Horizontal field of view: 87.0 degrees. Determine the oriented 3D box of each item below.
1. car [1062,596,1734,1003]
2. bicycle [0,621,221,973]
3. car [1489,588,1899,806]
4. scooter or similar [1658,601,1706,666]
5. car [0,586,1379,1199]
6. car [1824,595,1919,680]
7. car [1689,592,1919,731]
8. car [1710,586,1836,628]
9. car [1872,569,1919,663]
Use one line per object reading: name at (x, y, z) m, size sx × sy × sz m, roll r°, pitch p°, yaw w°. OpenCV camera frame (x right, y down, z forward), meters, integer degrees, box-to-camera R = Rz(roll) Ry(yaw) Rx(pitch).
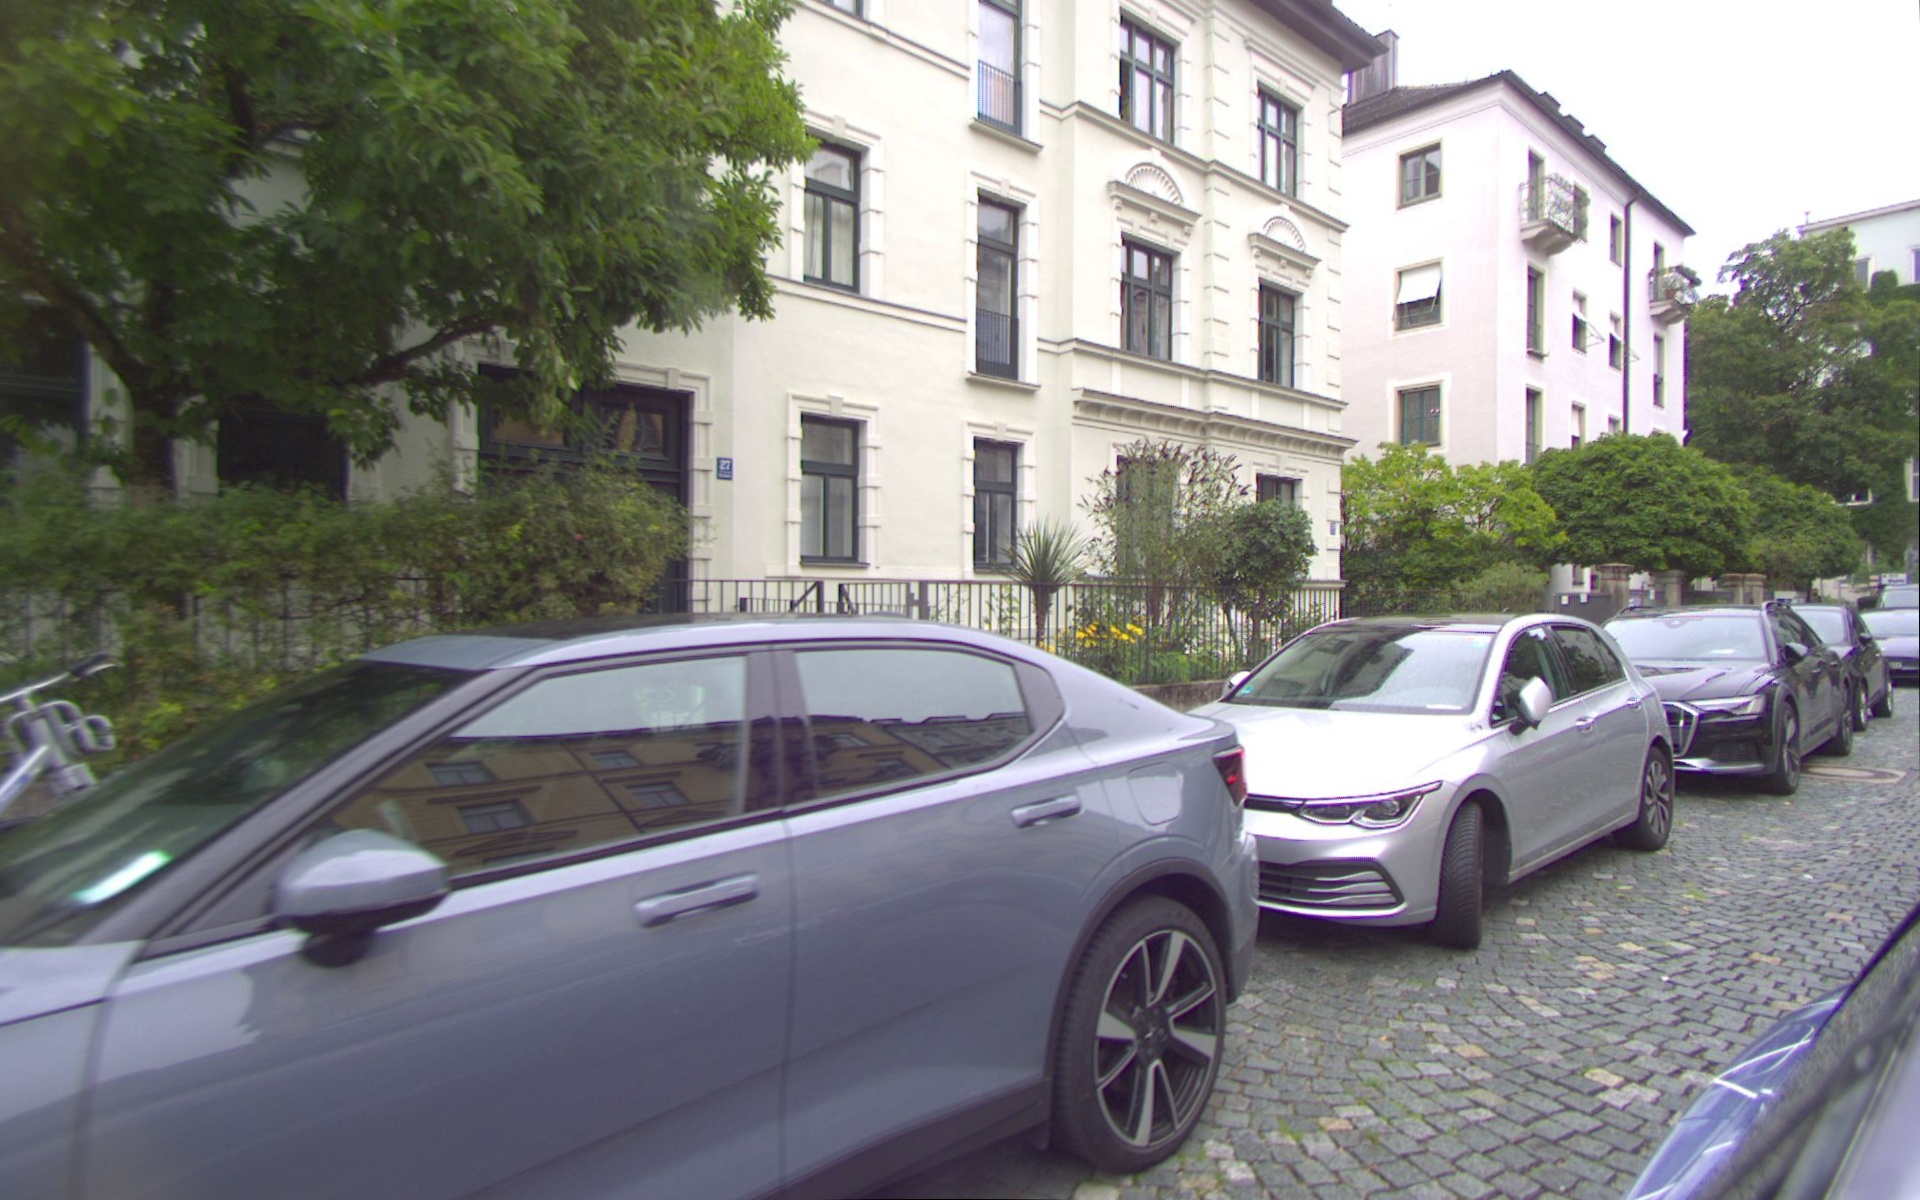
car at (2.771, 0.759, 5.844) m, size 4.401 × 1.478 × 1.758 m, roll 0°, pitch -2°, yaw -40°
bicycle at (-3.678, 0.700, 3.580) m, size 0.578 × 1.210 × 1.627 m, roll 0°, pitch 0°, yaw 35°
car at (7.021, 0.693, 9.437) m, size 5.015 × 1.522 × 1.907 m, roll 0°, pitch -2°, yaw -40°
scooter or similar at (14.810, 0.675, 20.738) m, size 1.447 × 1.230 × 0.443 m, roll -1°, pitch 6°, yaw -44°
car at (-1.092, 0.763, 2.422) m, size 4.729 × 1.508 × 1.885 m, roll 0°, pitch -2°, yaw -40°
car at (18.336, 0.650, 19.341) m, size 4.450 × 1.484 × 1.941 m, roll 0°, pitch -1°, yaw -39°
car at (10.852, 0.692, 12.933) m, size 3.622 × 1.528 × 1.669 m, roll 0°, pitch -2°, yaw -41°
car at (35.146, 0.313, 43.805) m, size 1.868 × 1.702 × 3.990 m, roll -1°, pitch -1°, yaw -43°
car at (22.442, 0.310, 23.014) m, size 4.882 × 1.995 × 1.996 m, roll -1°, pitch -2°, yaw -42°
